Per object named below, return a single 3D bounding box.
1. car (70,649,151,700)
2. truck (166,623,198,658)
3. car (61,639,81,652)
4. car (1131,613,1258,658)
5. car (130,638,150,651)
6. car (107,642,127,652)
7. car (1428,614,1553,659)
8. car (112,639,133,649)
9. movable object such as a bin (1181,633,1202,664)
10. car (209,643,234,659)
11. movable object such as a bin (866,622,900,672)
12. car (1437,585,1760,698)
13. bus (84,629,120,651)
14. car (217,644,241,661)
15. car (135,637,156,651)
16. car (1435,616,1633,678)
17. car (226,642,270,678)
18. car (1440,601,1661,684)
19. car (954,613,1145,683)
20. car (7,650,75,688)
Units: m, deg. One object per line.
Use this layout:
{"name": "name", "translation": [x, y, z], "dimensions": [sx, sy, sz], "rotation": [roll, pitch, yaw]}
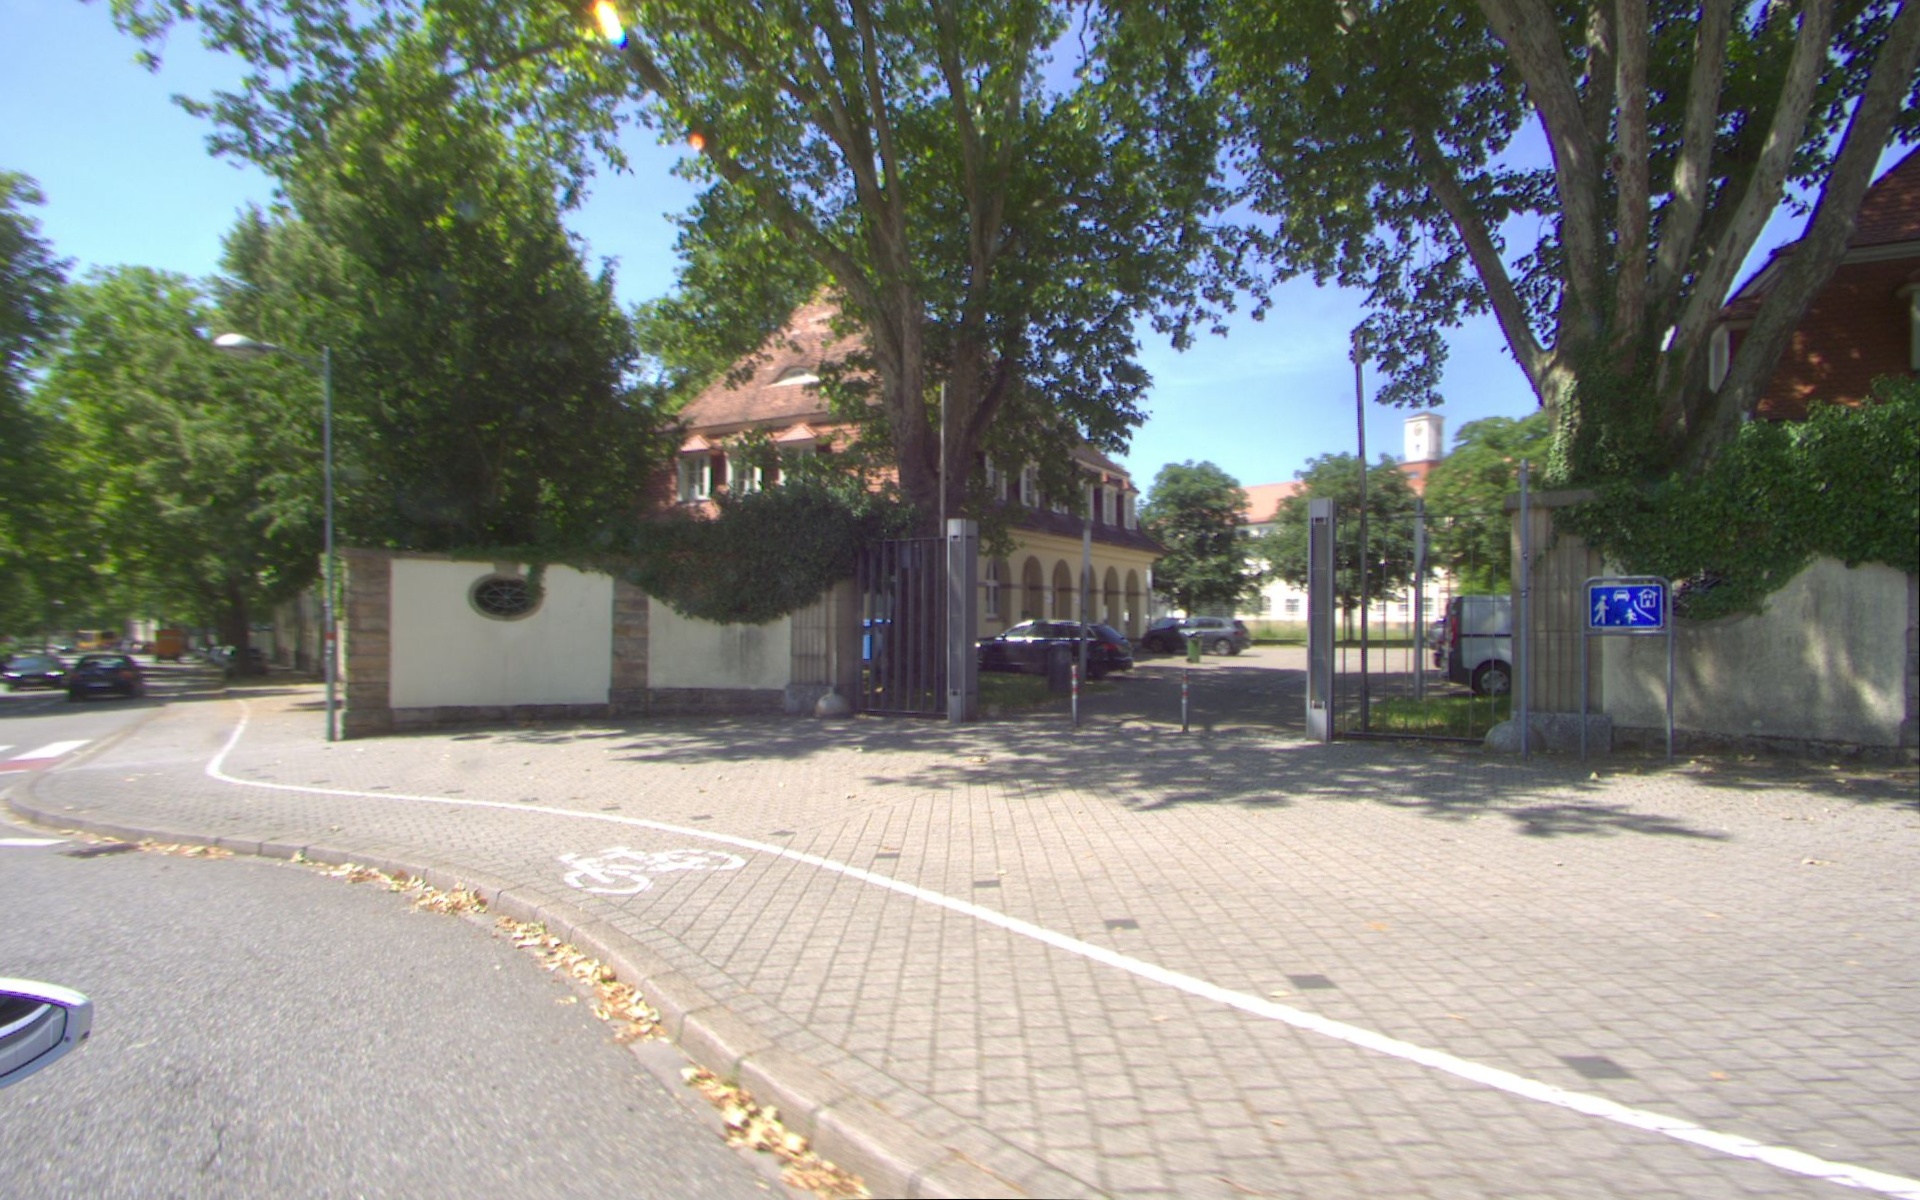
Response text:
{"name": "car", "translation": [-27.657, 2.372, 32.719], "dimensions": [1.695, 1.466, 4.030], "rotation": [0, -1, -36]}
{"name": "truck", "translation": [-74.159, 3.908, 95.465], "dimensions": [2.350, 3.173, 5.727], "rotation": [0, -3, -38]}
{"name": "car", "translation": [-124.873, 6.427, 140.714], "dimensions": [1.980, 1.687, 3.964], "rotation": [0, -3, -43]}
{"name": "car", "translation": [9.160, 1.332, 39.214], "dimensions": [4.432, 1.422, 1.991], "rotation": [3, 1, 30]}
{"name": "car", "translation": [-111.931, 6.069, 136.649], "dimensions": [1.866, 1.706, 3.966], "rotation": [0, -3, -42]}
{"name": "car", "translation": [-126.231, 7.060, 149.900], "dimensions": [3.688, 1.392, 1.758], "rotation": [-3, -1, 41]}
{"name": "car", "translation": [20.001, 1.393, 37.877], "dimensions": [4.030, 1.565, 1.804], "rotation": [-2, -2, 28]}
{"name": "car", "translation": [-120.795, 6.383, 144.423], "dimensions": [3.687, 1.392, 1.758], "rotation": [-3, -1, 40]}
{"name": "movable object such as a bin", "translation": [7.672, 1.606, 33.148], "dimensions": [0.528, 1.021, 0.527], "rotation": [-1, -1, -2]}
{"name": "car", "translation": [-73.165, 5.051, 99.189], "dimensions": [1.751, 1.485, 3.846], "rotation": [-2, -1, -39]}
{"name": "movable object such as a bin", "translation": [-2.062, 1.244, 26.864], "dimensions": [0.666, 1.313, 0.667], "rotation": [-2, -1, 20]}
{"name": "car", "translation": [11.710, 0.811, 18.835], "dimensions": [4.784, 1.910, 1.971], "rotation": [-2, -1, 23]}
{"name": "bus", "translation": [-137.724, 6.467, 160.697], "dimensions": [11.071, 3.191, 2.651], "rotation": [-3, -2, 41]}
{"name": "car", "translation": [-65.265, 4.668, 89.388], "dimensions": [1.564, 1.485, 3.846], "rotation": [-2, -1, -39]}
{"name": "car", "translation": [-106.896, 5.722, 131.416], "dimensions": [1.867, 1.706, 3.963], "rotation": [0, -3, -44]}
{"name": "car", "translation": [14.825, 1.224, 26.147], "dimensions": [4.261, 1.503, 1.807], "rotation": [-2, -2, 24]}
{"name": "car", "translation": [-36.317, 3.026, 51.083], "dimensions": [1.724, 1.578, 4.747], "rotation": [-2, 0, -36]}
{"name": "car", "translation": [13.884, 1.033, 23.860], "dimensions": [4.260, 1.834, 1.837], "rotation": [-2, -1, 23]}
{"name": "car", "translation": [2.289, 1.184, 25.866], "dimensions": [4.432, 1.422, 1.991], "rotation": [3, 1, 30]}
{"name": "car", "translation": [-38.970, 2.887, 42.544], "dimensions": [1.754, 1.444, 4.360], "rotation": [-1, -2, -38]}
